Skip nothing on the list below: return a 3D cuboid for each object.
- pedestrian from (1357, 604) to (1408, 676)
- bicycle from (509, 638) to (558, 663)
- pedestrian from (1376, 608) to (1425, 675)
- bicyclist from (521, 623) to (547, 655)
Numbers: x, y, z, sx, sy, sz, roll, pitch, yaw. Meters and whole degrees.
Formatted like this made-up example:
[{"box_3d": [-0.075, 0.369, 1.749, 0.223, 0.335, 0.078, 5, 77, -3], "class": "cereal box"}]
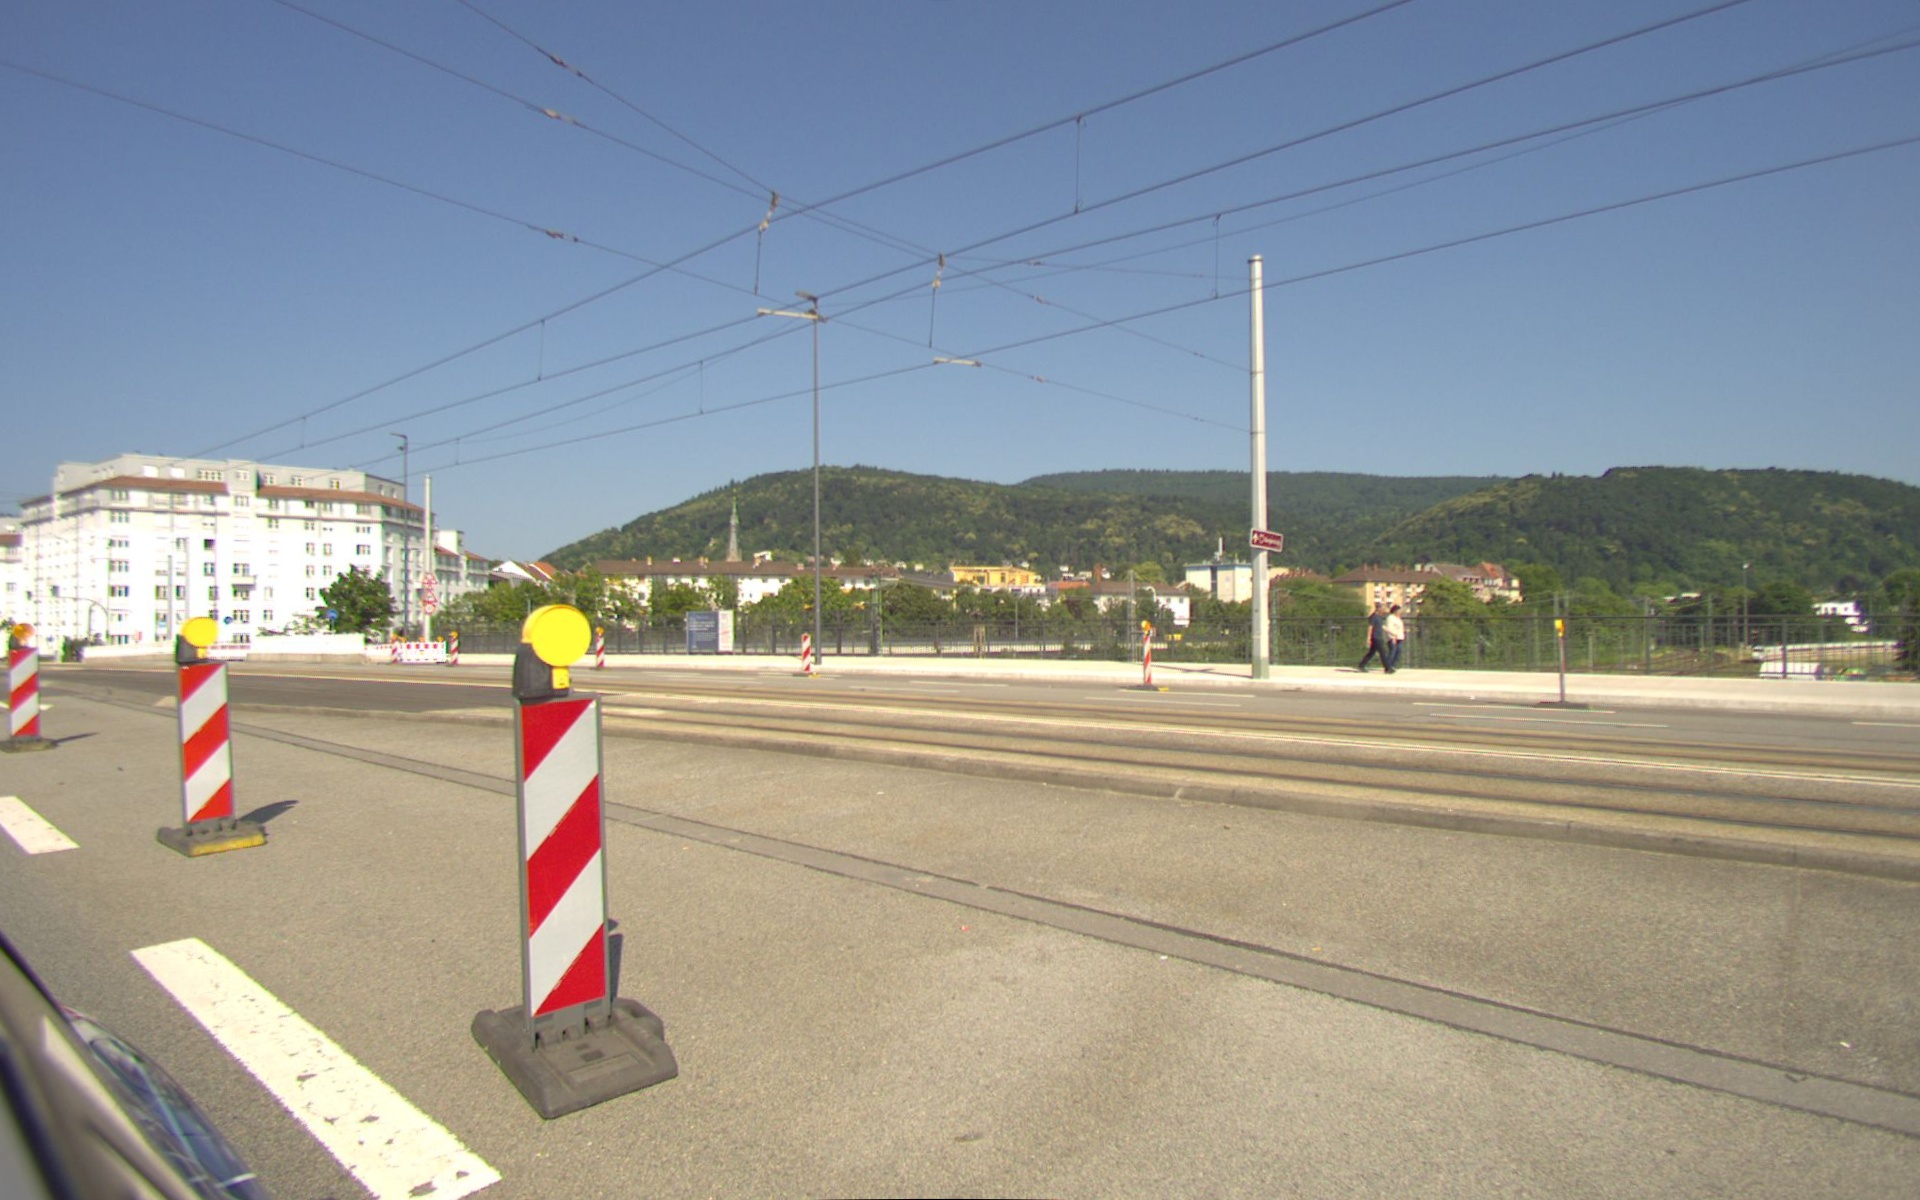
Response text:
[{"box_3d": [10.098, 0.949, 24.163, 0.894, 1.654, 0.736, -2, 0, 40], "class": "pedestrian"}, {"box_3d": [-20.908, 2.462, 49.568, 3.069, 1.204, 0.847, -2, -1, 39], "class": "bicycle"}, {"box_3d": [10.725, 1.006, 24.635, 0.888, 1.556, 0.712, -2, 0, 40], "class": "pedestrian"}, {"box_3d": [-20.833, 1.883, 49.503, 0.816, 1.530, 0.847, -2, -1, 39], "class": "bicyclist"}]
